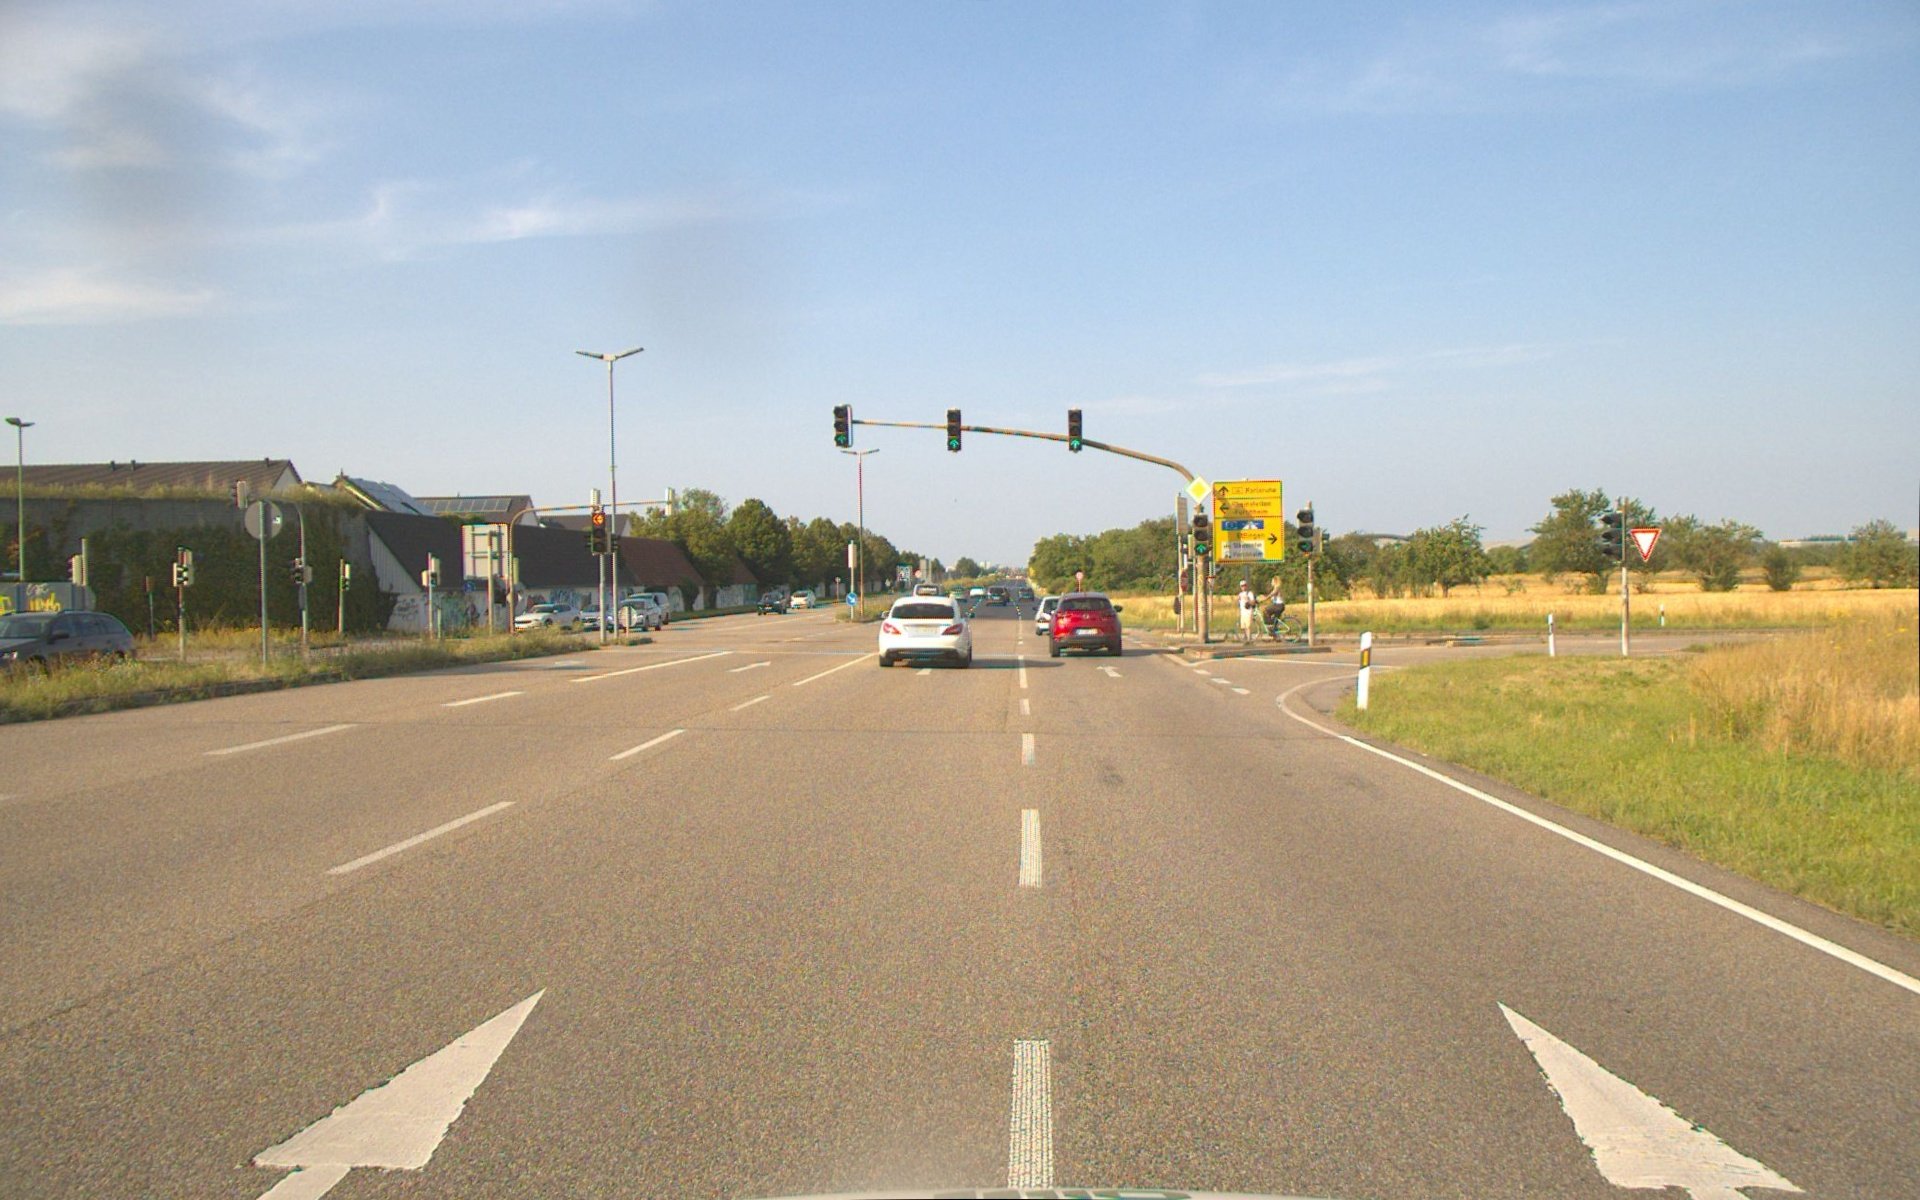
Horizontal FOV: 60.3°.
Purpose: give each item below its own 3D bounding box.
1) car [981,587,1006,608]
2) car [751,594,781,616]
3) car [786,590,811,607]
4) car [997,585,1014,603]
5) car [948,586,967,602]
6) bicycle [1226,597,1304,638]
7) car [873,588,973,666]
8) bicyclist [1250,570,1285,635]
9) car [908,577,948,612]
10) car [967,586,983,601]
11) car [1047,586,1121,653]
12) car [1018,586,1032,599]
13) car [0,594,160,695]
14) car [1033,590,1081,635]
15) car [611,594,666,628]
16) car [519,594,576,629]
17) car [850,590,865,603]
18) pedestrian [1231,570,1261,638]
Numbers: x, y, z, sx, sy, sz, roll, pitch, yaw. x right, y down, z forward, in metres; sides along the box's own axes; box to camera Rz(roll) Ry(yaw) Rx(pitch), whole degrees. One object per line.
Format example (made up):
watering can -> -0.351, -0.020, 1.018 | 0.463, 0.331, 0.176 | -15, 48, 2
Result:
car -> 2.895, -0.238, 141.946 | 1.800, 1.713, 4.003 | 1, 1, 5
car -> -14.321, 0.329, 122.127 | 1.786, 1.534, 3.797 | 1, 1, -1
car -> -15.142, -0.114, 155.149 | 1.953, 1.523, 3.999 | 1, 1, -1
car -> 4.537, -0.630, 163.805 | 1.675, 1.766, 3.868 | 1, 1, 2
car -> -0.239, -0.600, 162.677 | 1.681, 1.518, 3.586 | 1, 1, 3
bicycle -> 8.427, 0.475, 45.828 | 2.051, 1.108, 0.808 | 1, 0, 6
car -> -0.717, 0.528, 34.802 | 1.855, 1.535, 4.001 | 0, 1, 2
bicyclist -> 8.517, 0.062, 45.803 | 0.830, 1.786, 0.799 | 1, 0, 4
car -> -1.855, -0.354, 97.724 | 1.983, 1.924, 4.961 | 1, 1, 3
car -> 1.728, -0.765, 194.553 | 1.740, 1.694, 3.663 | 1, 1, -1
car -> 3.042, 0.450, 41.122 | 1.717, 1.543, 4.002 | -1, 1, 3
car -> 6.822, -0.745, 172.256 | 1.409, 1.306, 2.915 | 1, 1, 3
car -> -16.697, 0.739, 30.198 | 1.686, 1.657, 4.660 | 1, 1, 3
car -> 3.585, 0.435, 61.199 | 1.693, 1.556, 3.475 | 1, 1, 3
car -> -14.827, 0.481, 76.425 | 1.747, 1.462, 4.356 | 1, 1, -1
car -> -20.229, 0.552, 81.210 | 1.851, 1.646, 3.856 | 1, 1, -1
car -> -13.662, -0.475, 220.987 | 1.718, 1.556, 4.001 | 1, 1, 1
pedestrian -> 7.536, 0.101, 43.598 | 0.695, 1.782, 0.863 | 1, 0, 4
